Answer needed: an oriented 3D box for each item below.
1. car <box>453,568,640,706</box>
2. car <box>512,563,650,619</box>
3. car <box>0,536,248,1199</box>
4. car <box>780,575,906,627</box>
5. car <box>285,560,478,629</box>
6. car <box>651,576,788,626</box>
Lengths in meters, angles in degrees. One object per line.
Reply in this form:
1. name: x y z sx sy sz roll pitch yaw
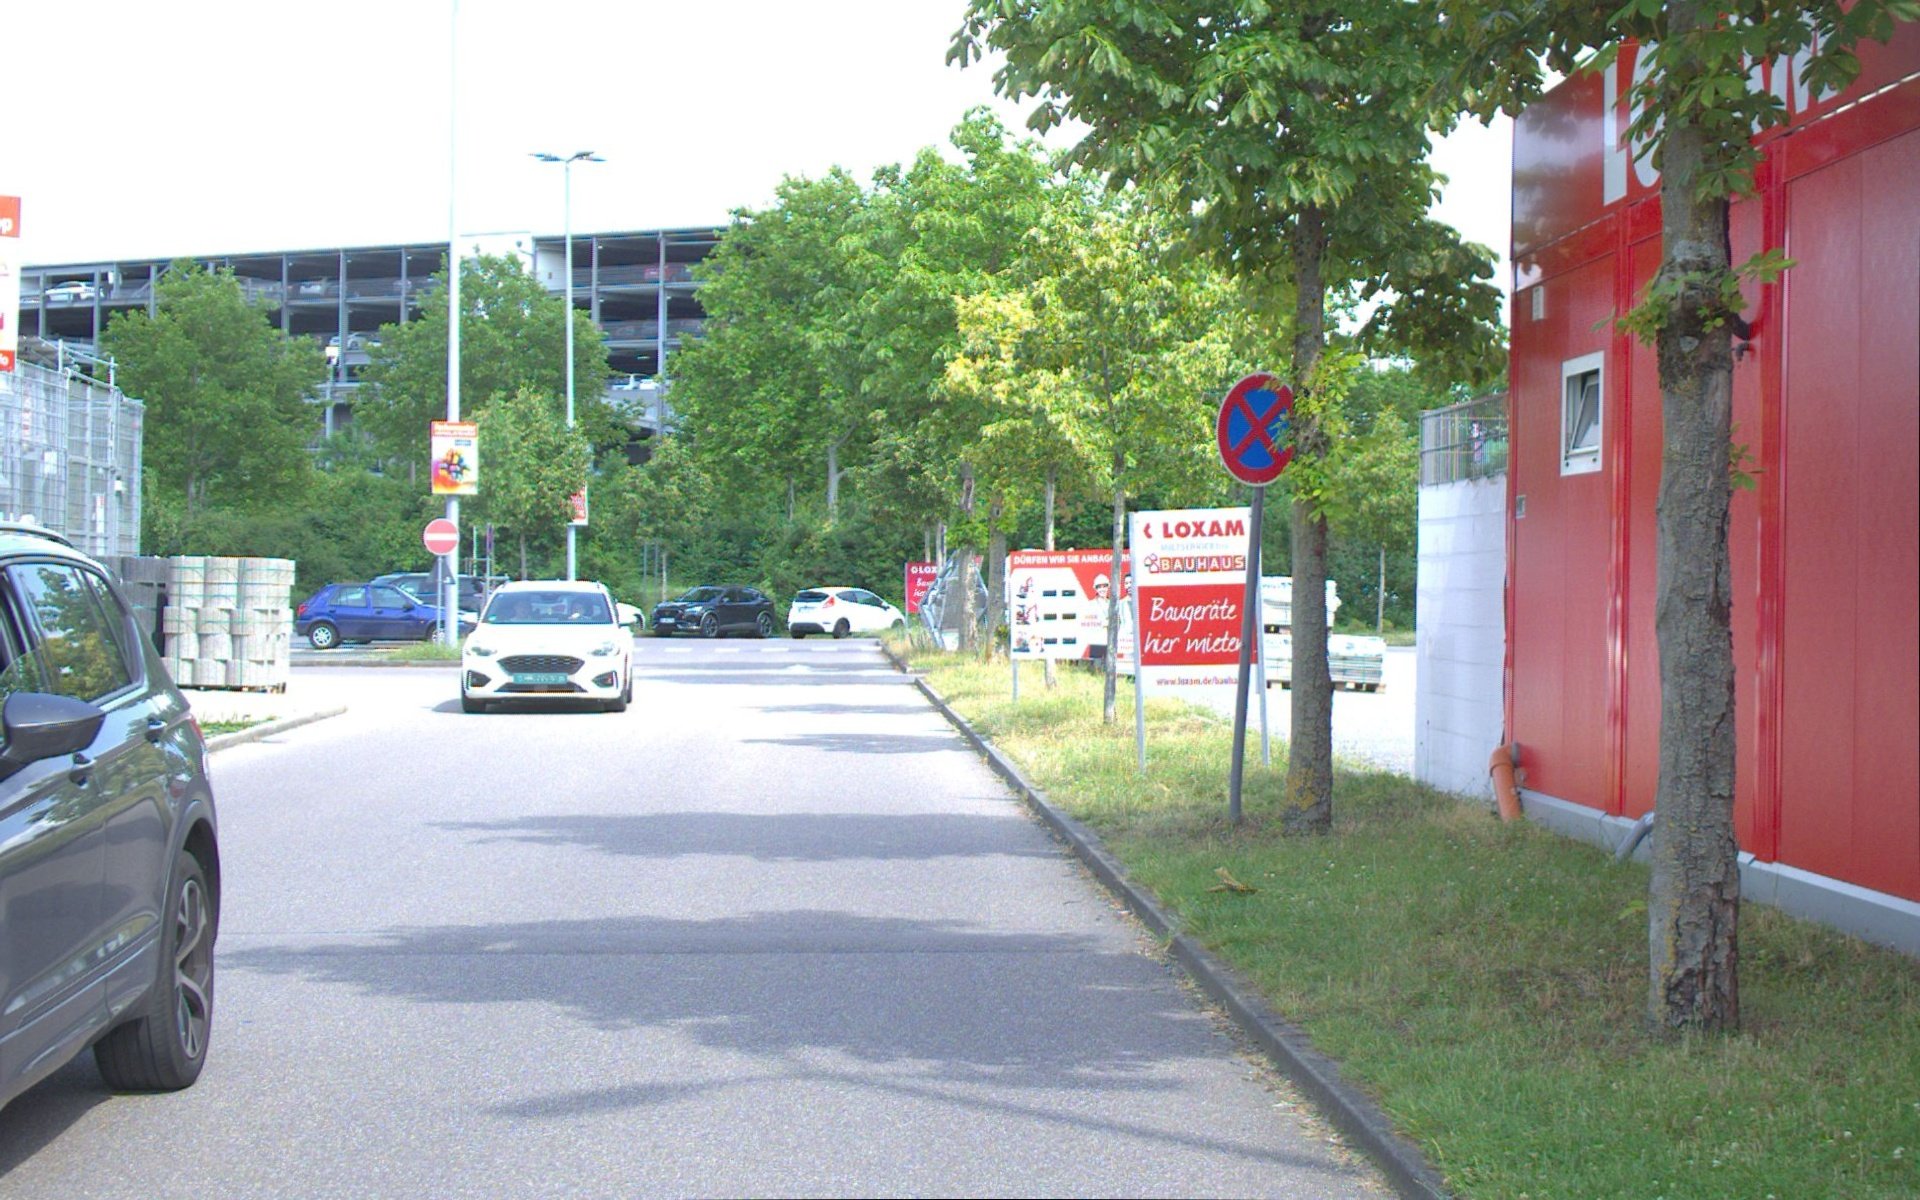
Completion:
1. car: -4.660 0.380 39.247 1.803 1.459 4.329 1 1 -3
2. car: -11.128 -0.252 101.203 1.688 1.505 4.073 -5 -3 35
3. car: -3.137 0.648 8.563 1.915 1.612 4.374 0 1 -1
4. car: -3.243 0.021 95.888 1.668 1.407 3.550 1 0 37
5. car: -11.954 -0.114 71.152 3.750 1.363 1.621 1 0 -2
6. car: -6.849 0.026 98.403 1.731 1.405 4.235 1 0 32
